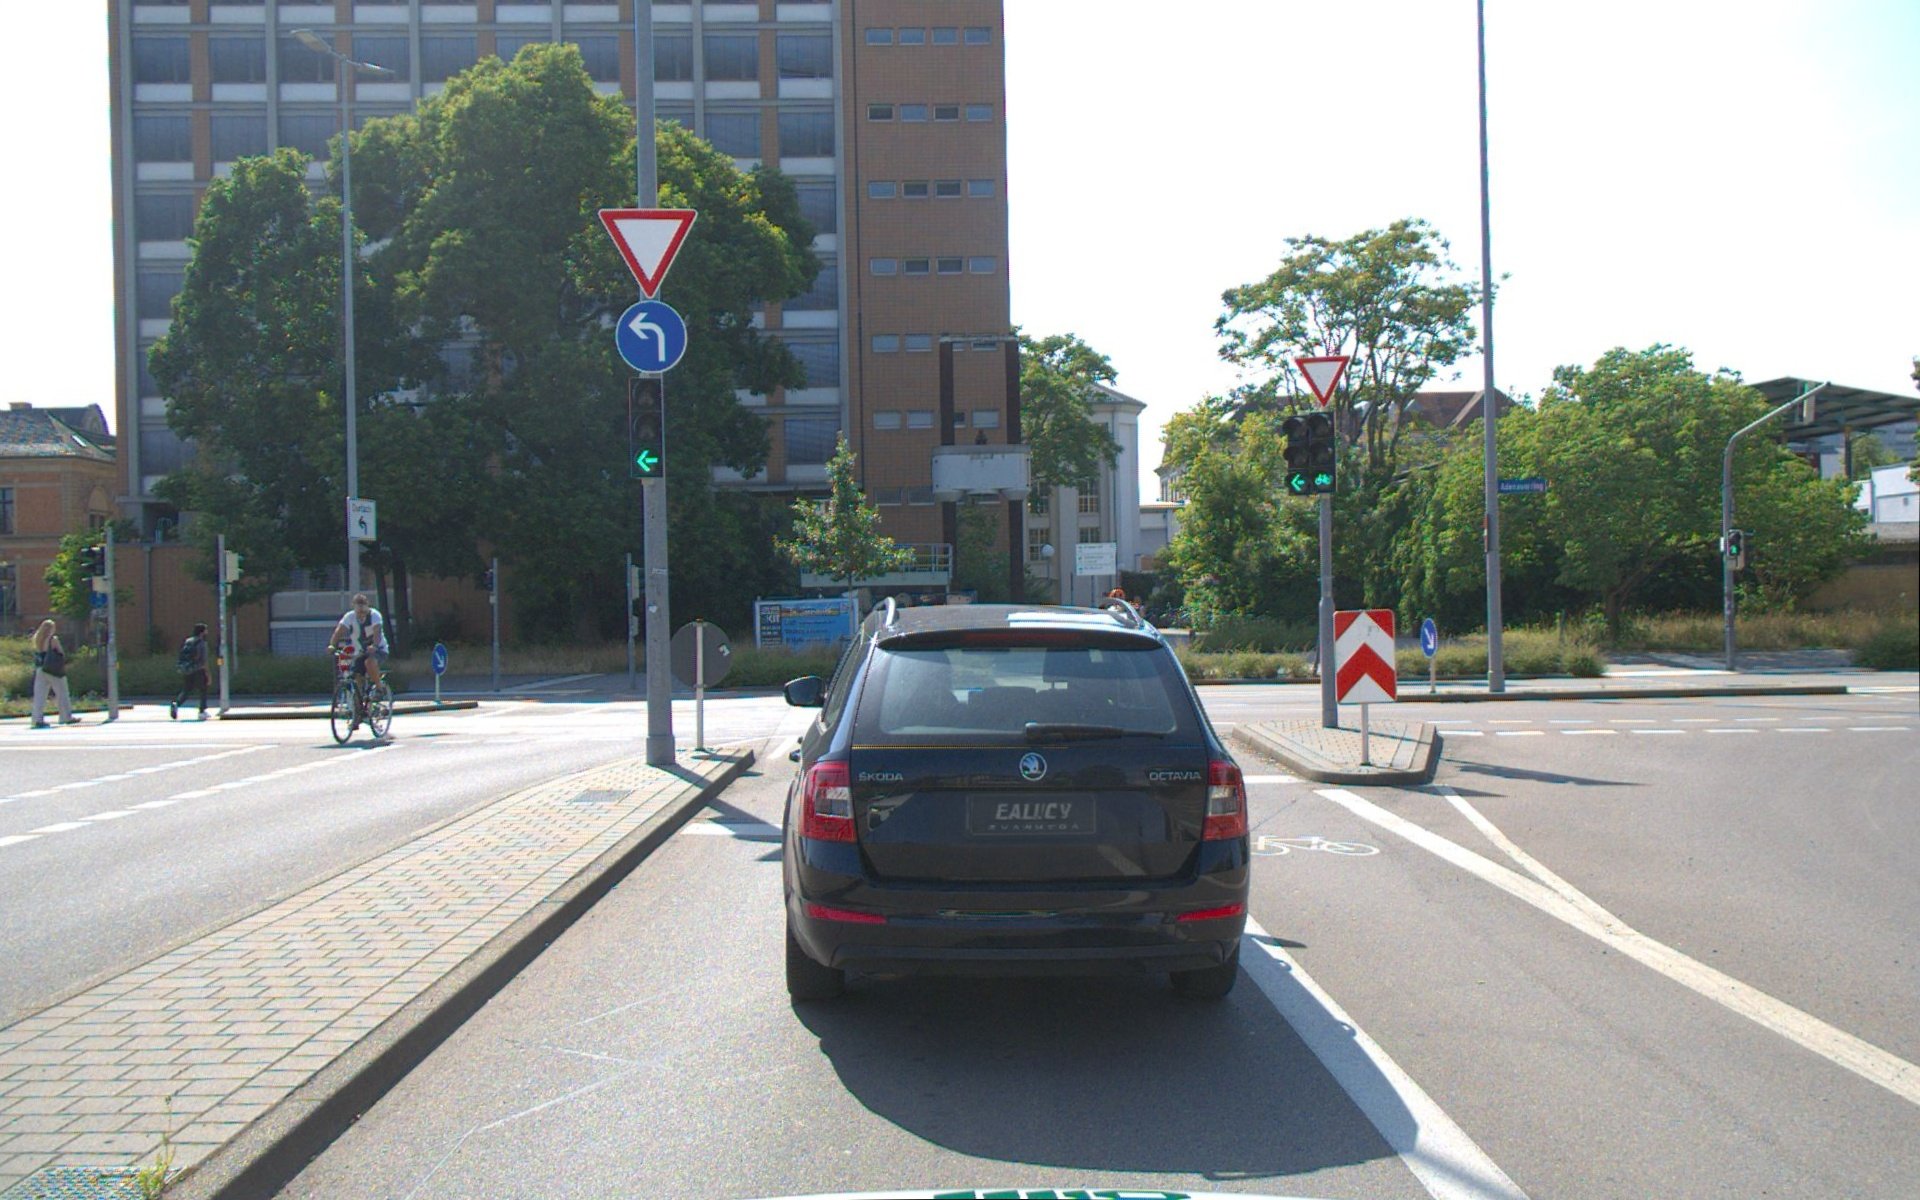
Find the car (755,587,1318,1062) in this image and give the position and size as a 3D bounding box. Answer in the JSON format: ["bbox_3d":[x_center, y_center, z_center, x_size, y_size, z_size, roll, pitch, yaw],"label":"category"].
[{"bbox_3d":[0.229,0.702,7.043,1.743,1.468,3.817,0,0,0],"label":"car"}]

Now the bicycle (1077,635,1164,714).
[{"bbox_3d":[2.117,0.968,22.043,0.586,0.948,2.022,0,0,-12],"label":"bicycle"}]

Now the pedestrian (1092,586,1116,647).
[{"bbox_3d":[4.611,0.526,52.953,0.584,1.907,0.639,-2,-1,22],"label":"pedestrian"}]

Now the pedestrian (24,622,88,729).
[{"bbox_3d":[-15.612,1.304,28.592,0.724,1.783,1.105,-2,-2,-17],"label":"pedestrian"}]

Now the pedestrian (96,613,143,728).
[{"bbox_3d":[-15.233,1.261,29.960,0.610,2.049,0.678,2,-2,-38],"label":"pedestrian"}]

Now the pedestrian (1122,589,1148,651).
[{"bbox_3d":[5.508,0.627,52.009,0.624,1.907,0.796,-3,0,-1],"label":"pedestrian"}]

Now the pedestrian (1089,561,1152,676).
[{"bbox_3d":[2.124,0.246,21.968,0.572,1.492,1.011,0,-1,-11],"label":"pedestrian"}]

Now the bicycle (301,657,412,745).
[{"bbox_3d":[-7.418,1.218,20.433,0.690,0.994,2.029,-2,-2,-3],"label":"bicycle"}]

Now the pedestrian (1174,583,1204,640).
[{"bbox_3d":[7.923,0.403,57.199,0.777,1.907,0.639,-3,0,22],"label":"pedestrian"}]

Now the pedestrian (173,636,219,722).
[{"bbox_3d":[-13.839,1.424,29.969,0.621,1.518,0.614,-2,0,-17],"label":"pedestrian"}]

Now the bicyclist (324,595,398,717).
[{"bbox_3d":[-7.361,0.684,20.365,0.528,1.441,1.029,-2,-1,-3],"label":"bicyclist"}]
